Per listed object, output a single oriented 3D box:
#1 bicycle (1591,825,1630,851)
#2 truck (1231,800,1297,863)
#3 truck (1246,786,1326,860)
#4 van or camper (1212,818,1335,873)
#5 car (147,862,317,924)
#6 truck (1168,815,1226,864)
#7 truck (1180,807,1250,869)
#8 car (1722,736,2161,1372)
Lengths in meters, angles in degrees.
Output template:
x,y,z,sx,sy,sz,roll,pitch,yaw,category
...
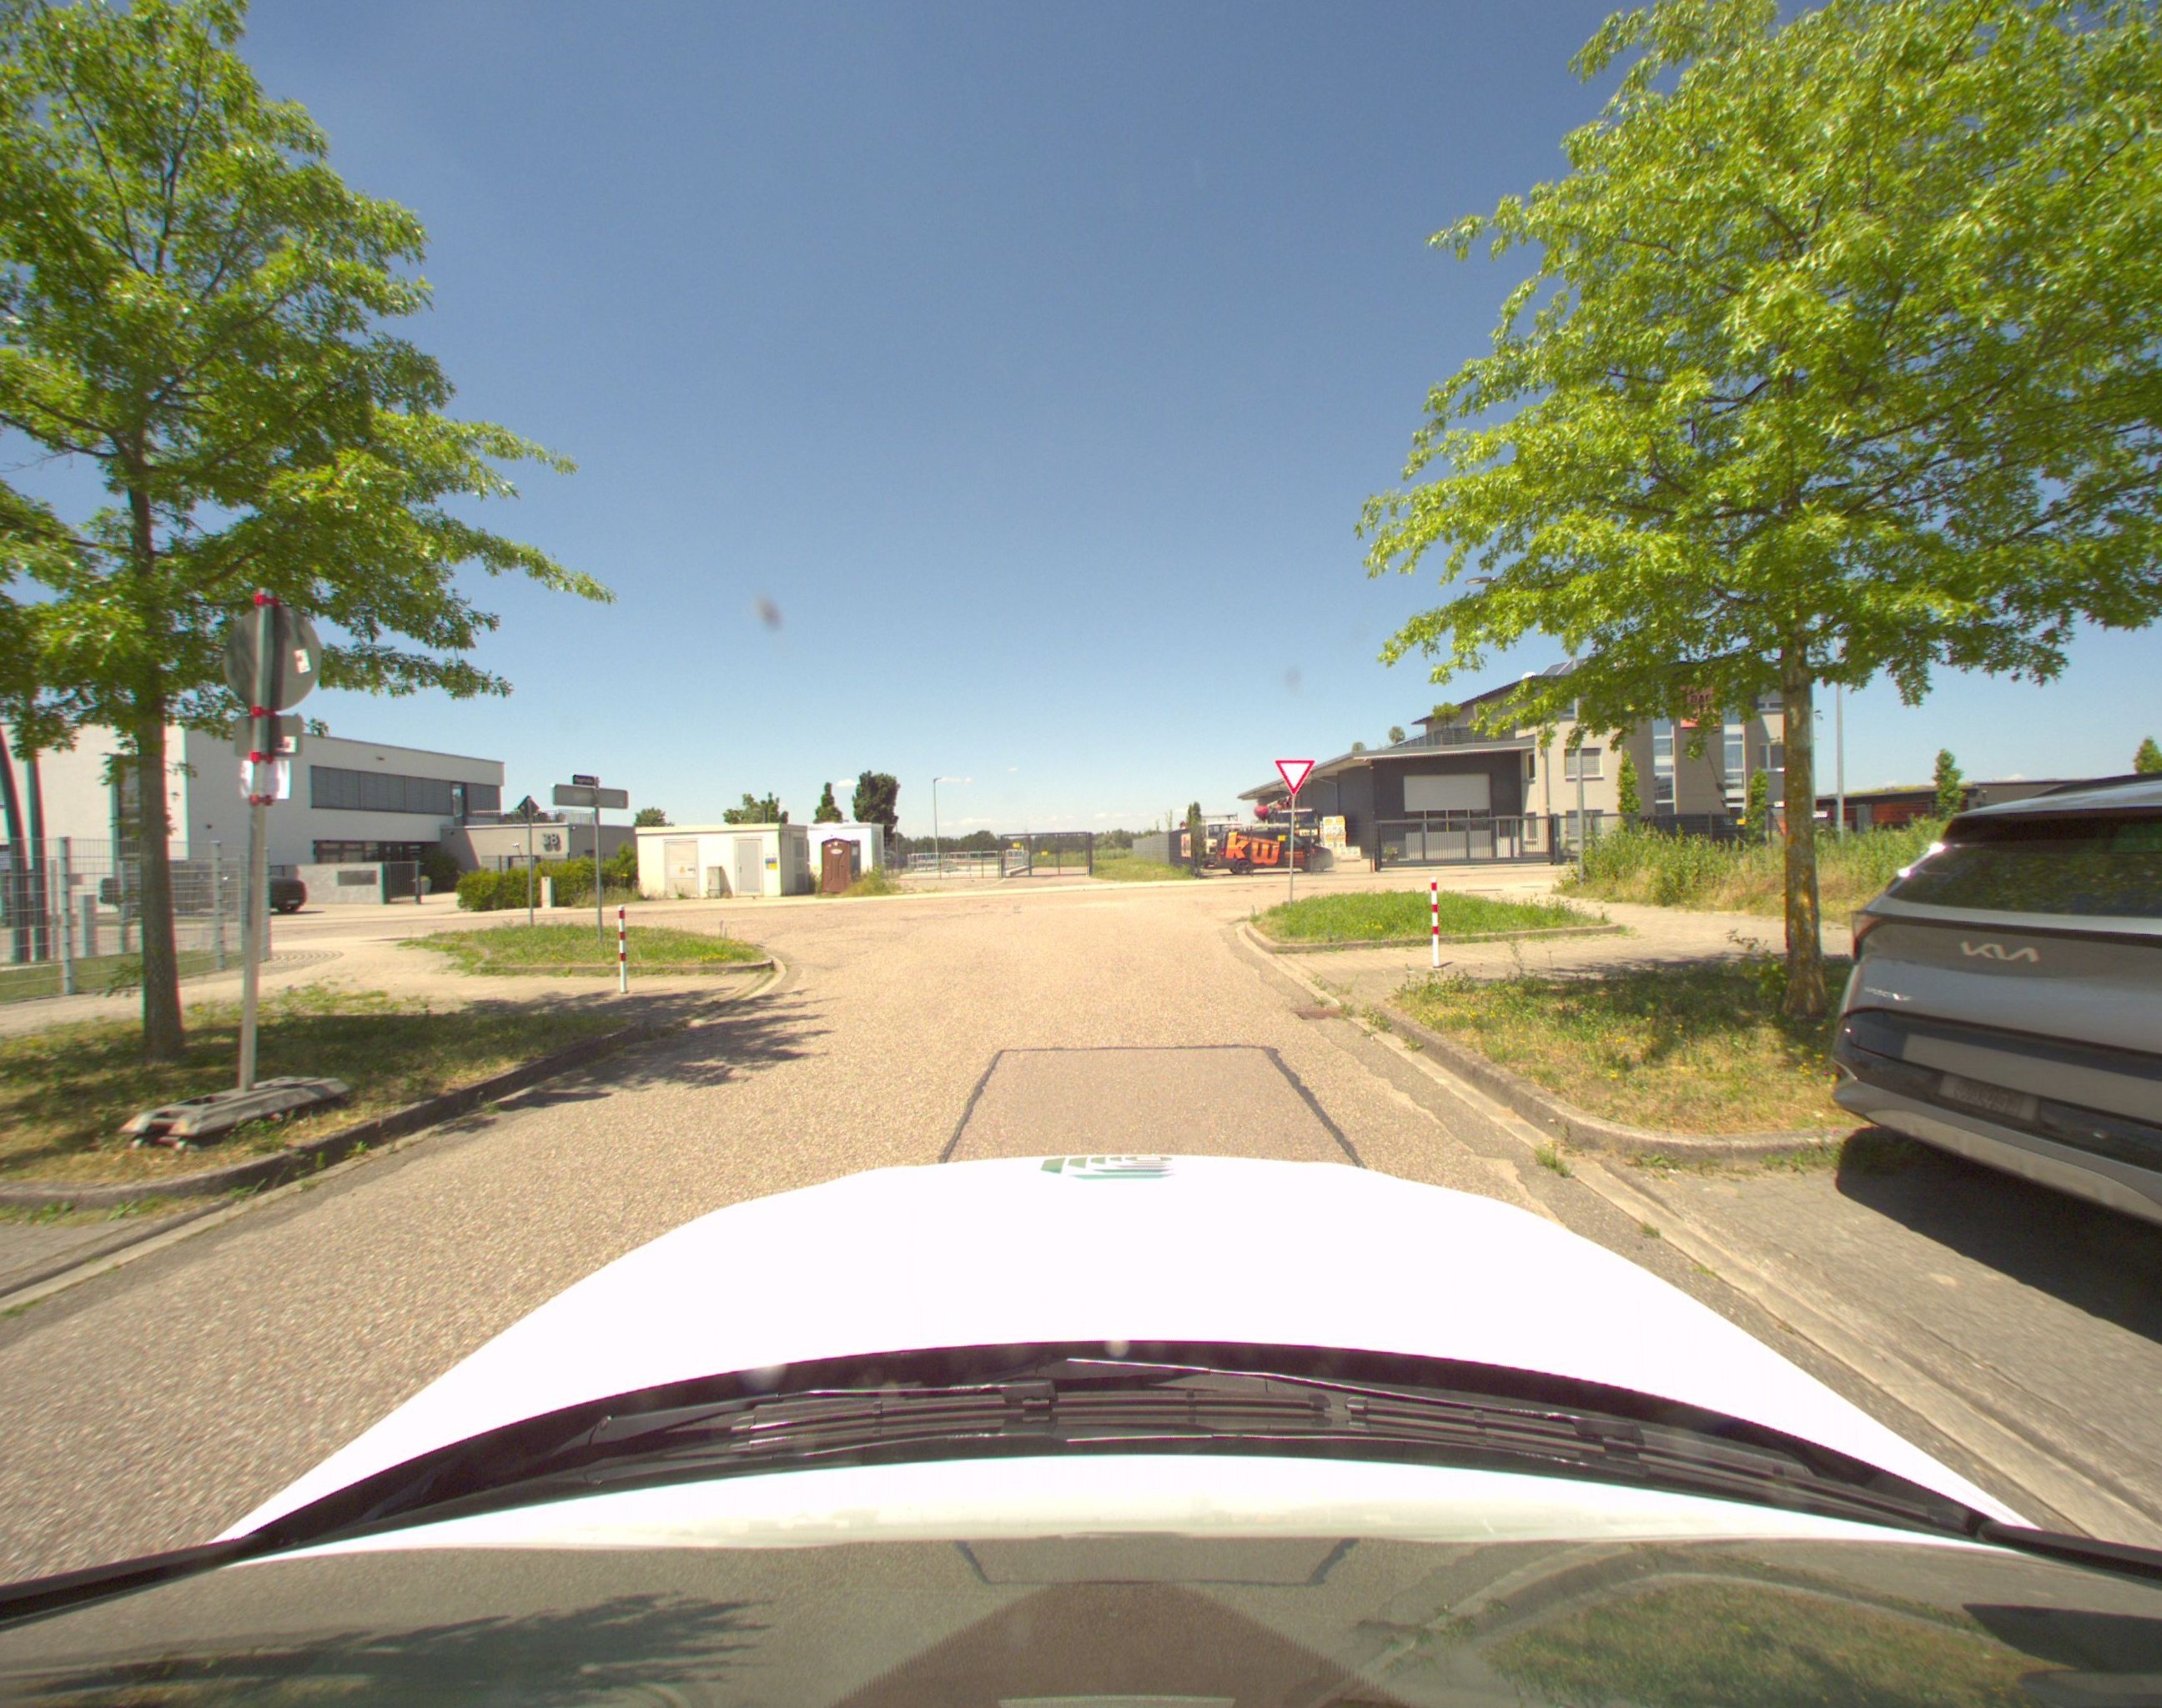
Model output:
x,y,z,sx,sy,sz,roll,pitch,yaw,category
26.362,-0.795,40.543,1.804,1.185,0.442,-3,0,-13,bicycle
12.395,-1.473,55.660,2.911,3.929,6.937,-2,0,1,truck
11.831,-1.725,47.763,2.911,3.929,6.937,-2,0,1,truck
8.379,-0.389,35.798,4.919,2.163,2.000,-2,1,0,van or camper
-31.338,1.397,30.166,3.977,2.013,1.998,-3,0,-2,car
7.558,-0.920,53.933,2.911,2.937,6.937,-2,0,1,truck
7.293,-0.859,45.175,2.717,3.061,6.937,-2,0,1,truck
4.904,0.393,2.540,4.263,1.644,1.851,-4,0,1,car
